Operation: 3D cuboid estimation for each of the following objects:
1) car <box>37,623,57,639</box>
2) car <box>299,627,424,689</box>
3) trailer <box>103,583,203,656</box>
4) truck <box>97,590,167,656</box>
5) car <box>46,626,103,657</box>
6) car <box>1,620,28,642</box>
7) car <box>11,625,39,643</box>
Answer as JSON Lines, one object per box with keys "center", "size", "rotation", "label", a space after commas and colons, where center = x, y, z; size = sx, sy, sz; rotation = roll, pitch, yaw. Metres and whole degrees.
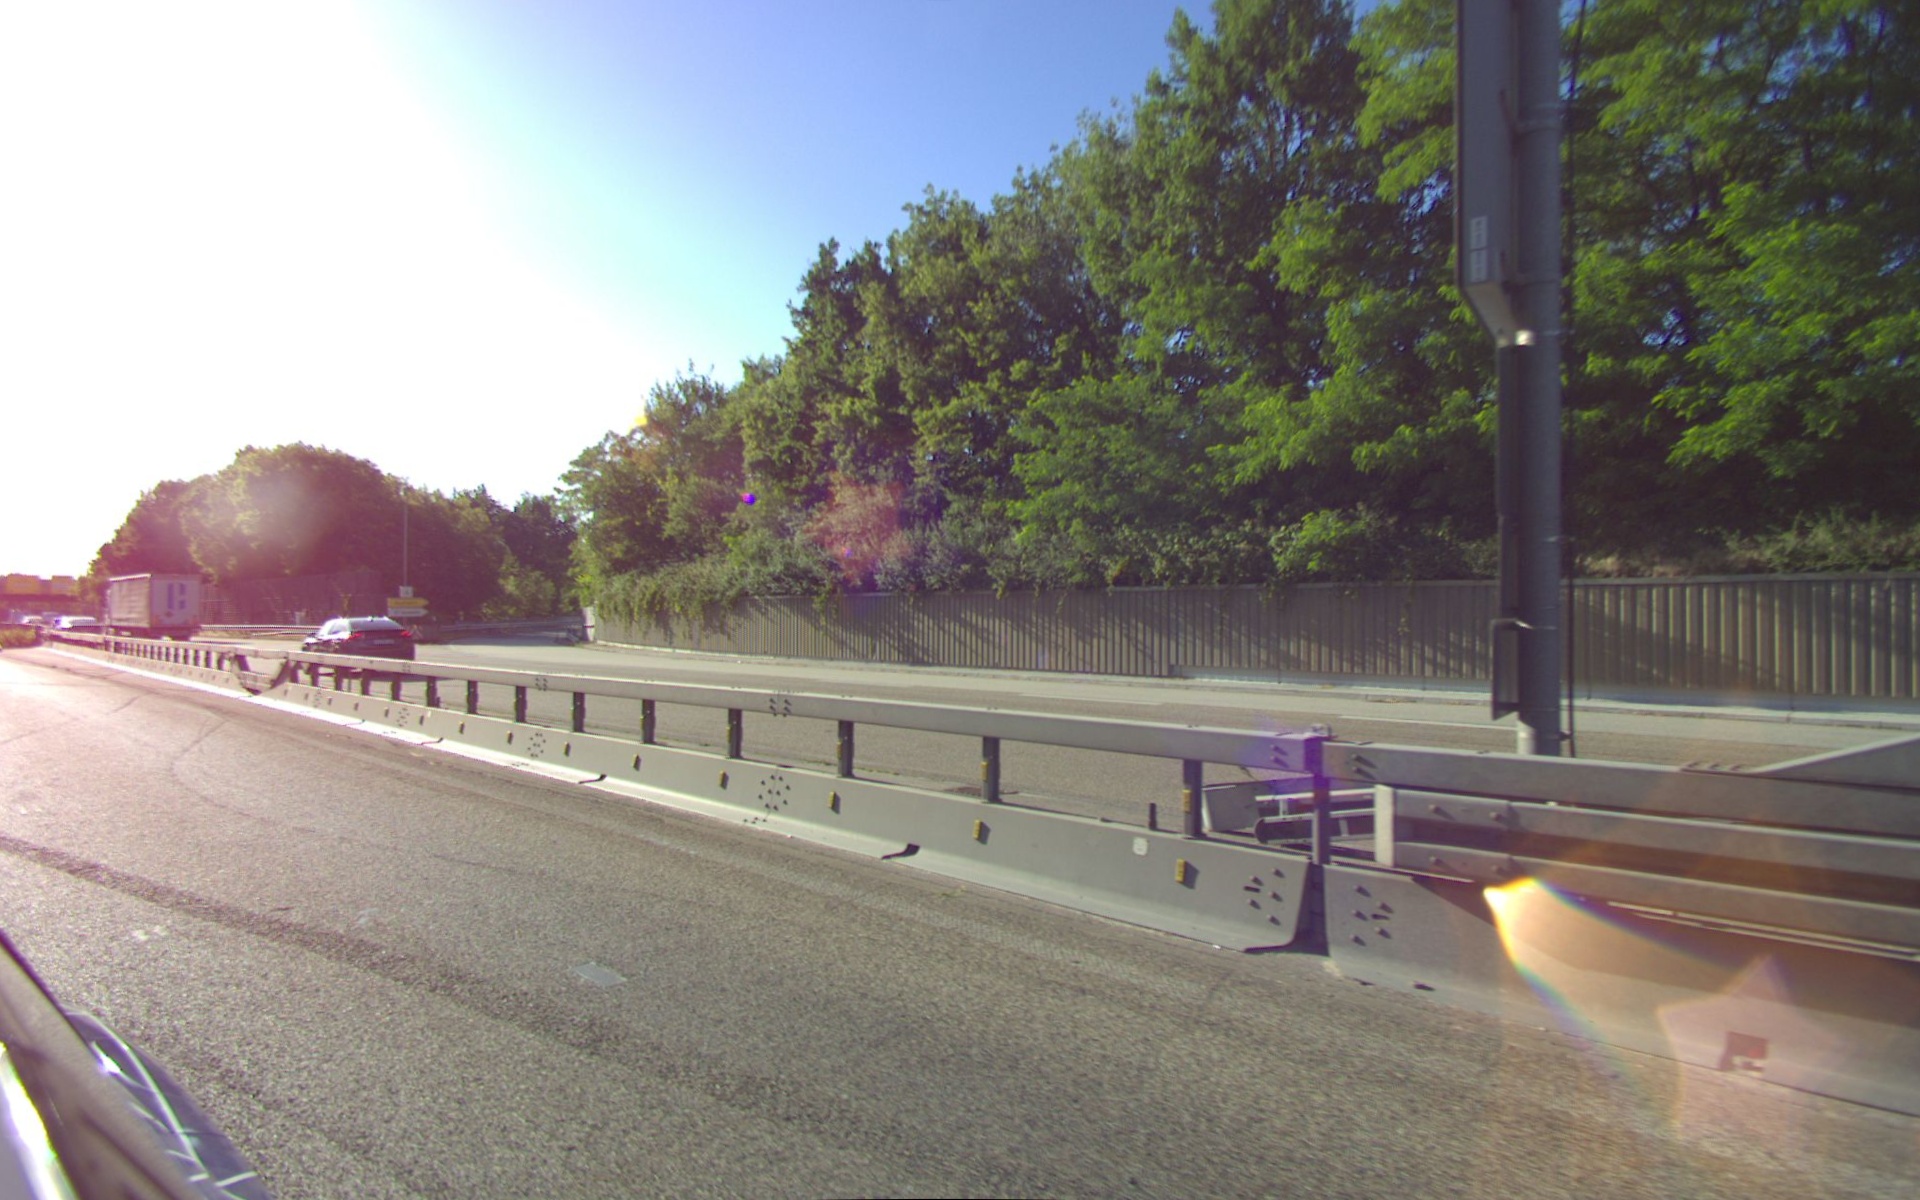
{"center": [-135.404, 4.589, 150.070], "size": [2.052, 2.298, 5.379], "rotation": [-1, -1, -44], "label": "car"}
{"center": [-16.022, 1.516, 26.993], "size": [1.970, 1.497, 4.202], "rotation": [1, -3, -44], "label": "car"}
{"center": [-52.094, 1.366, 65.086], "size": [14.079, 4.312, 2.718], "rotation": [-3, -1, 42], "label": "trailer"}
{"center": [-56.789, 1.620, 69.351], "size": [6.384, 4.294, 2.707], "rotation": [-3, -1, 42], "label": "truck"}
{"center": [-50.969, 2.407, 58.225], "size": [4.938, 1.671, 1.972], "rotation": [-3, -1, 43], "label": "car"}
{"center": [-123.916, 4.054, 132.568], "size": [6.050, 2.631, 2.124], "rotation": [-3, -1, 42], "label": "car"}
{"center": [-103.752, 3.782, 112.334], "size": [4.785, 1.796, 1.972], "rotation": [-3, -1, 43], "label": "car"}
